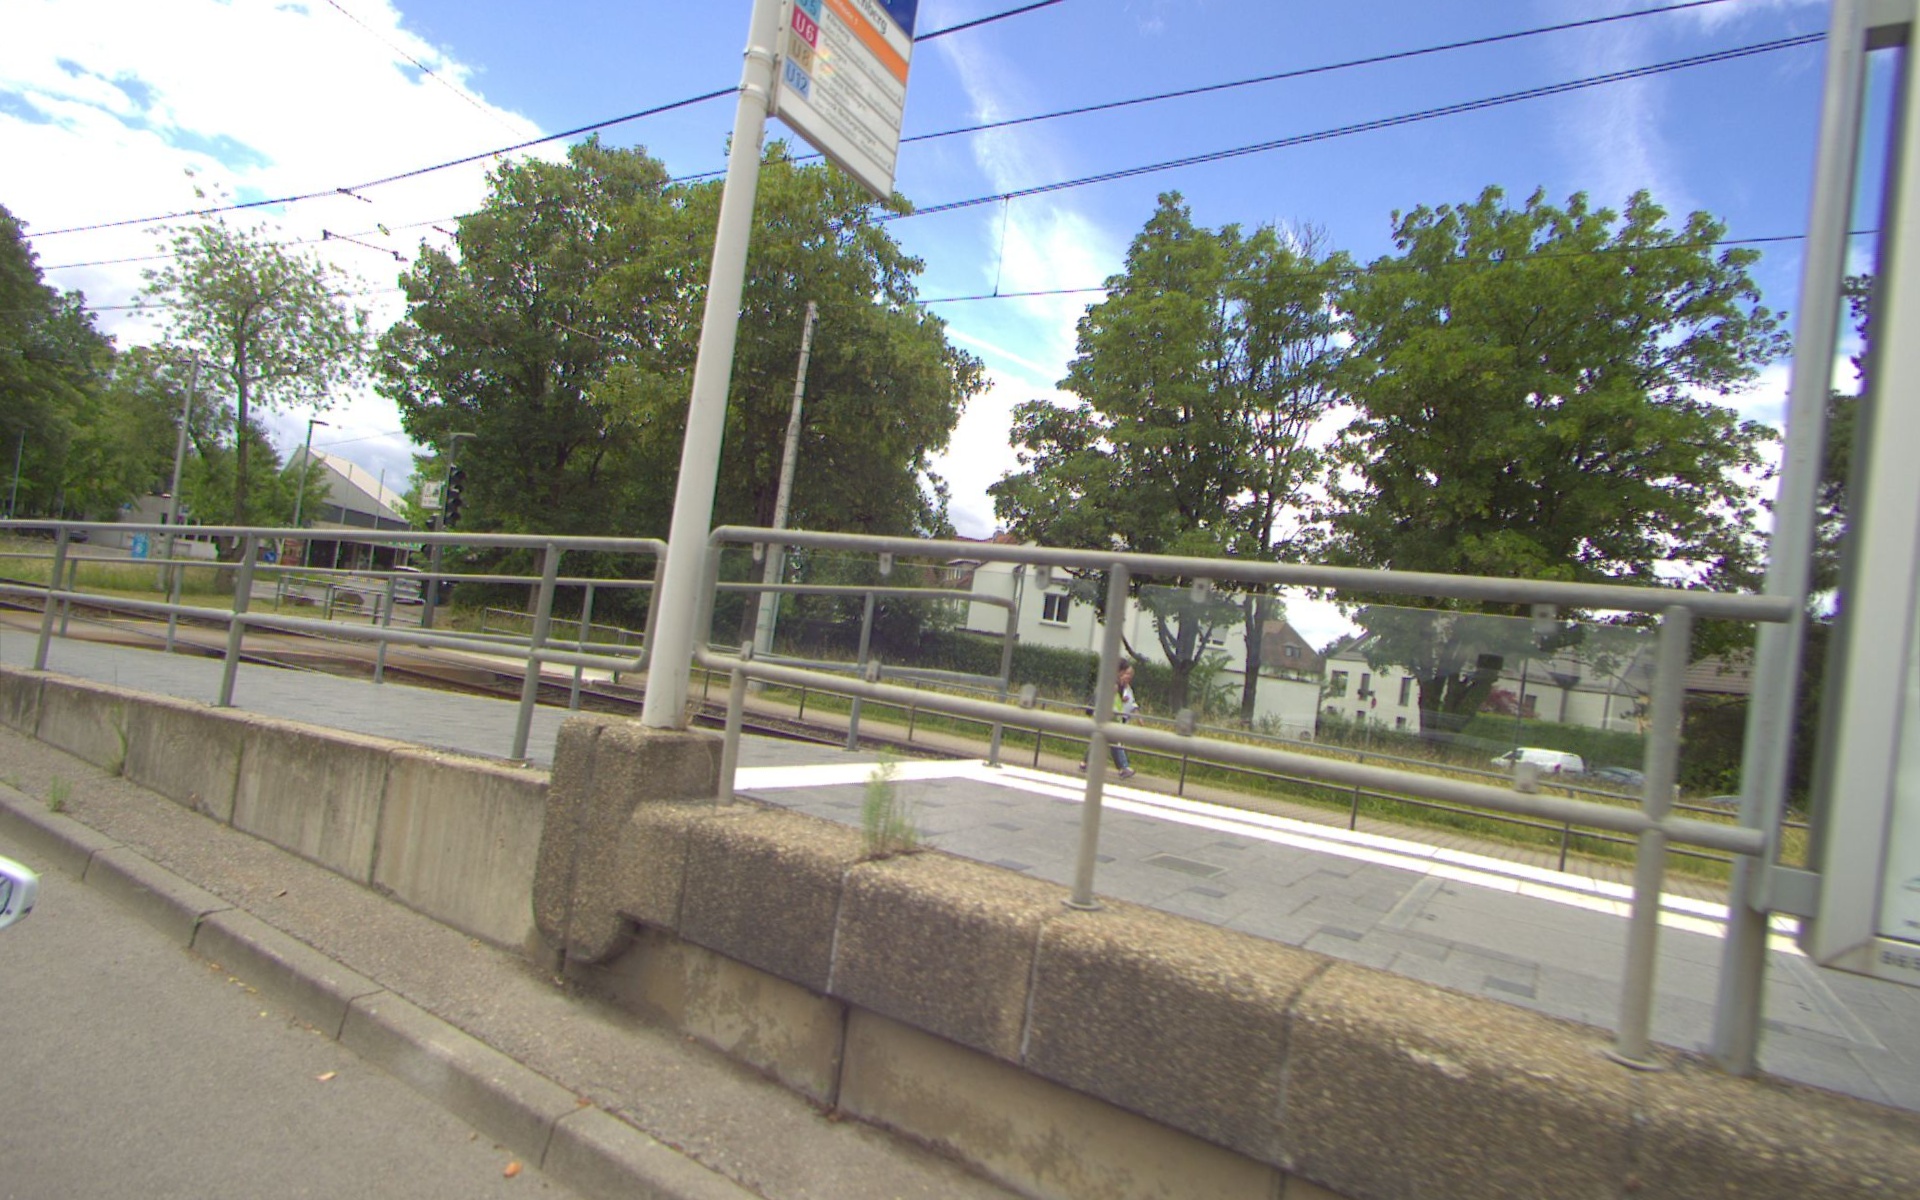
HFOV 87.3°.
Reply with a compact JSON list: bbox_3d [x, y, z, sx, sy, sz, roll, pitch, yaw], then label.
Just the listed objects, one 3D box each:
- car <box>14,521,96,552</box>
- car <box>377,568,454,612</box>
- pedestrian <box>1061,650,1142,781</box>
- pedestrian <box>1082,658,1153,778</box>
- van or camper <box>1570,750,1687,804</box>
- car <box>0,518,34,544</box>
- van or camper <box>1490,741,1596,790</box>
[{"bbox_3d":[-60.997,-4.277,67.815,4.263,1.459,2.003,6,-3,15],"label":"car"},{"bbox_3d":[-28.689,-0.477,53.161,1.885,1.882,4.711,7,-2,-8],"label":"car"},{"bbox_3d":[1.914,1.549,13.601,0.777,1.640,0.494,6,-2,31],"label":"pedestrian"},{"bbox_3d":[2.230,1.668,14.224,0.681,1.579,0.494,6,-2,31],"label":"pedestrian"},{"bbox_3d":[30.636,8.076,46.242,1.970,1.669,4.051,9,-3,-14],"label":"van or camper"},{"bbox_3d":[-66.410,-4.898,69.236,3.924,1.459,2.003,6,-3,15],"label":"car"},{"bbox_3d":[29.437,8.339,50.967,1.971,1.669,4.319,9,-3,-16],"label":"van or camper"}]
